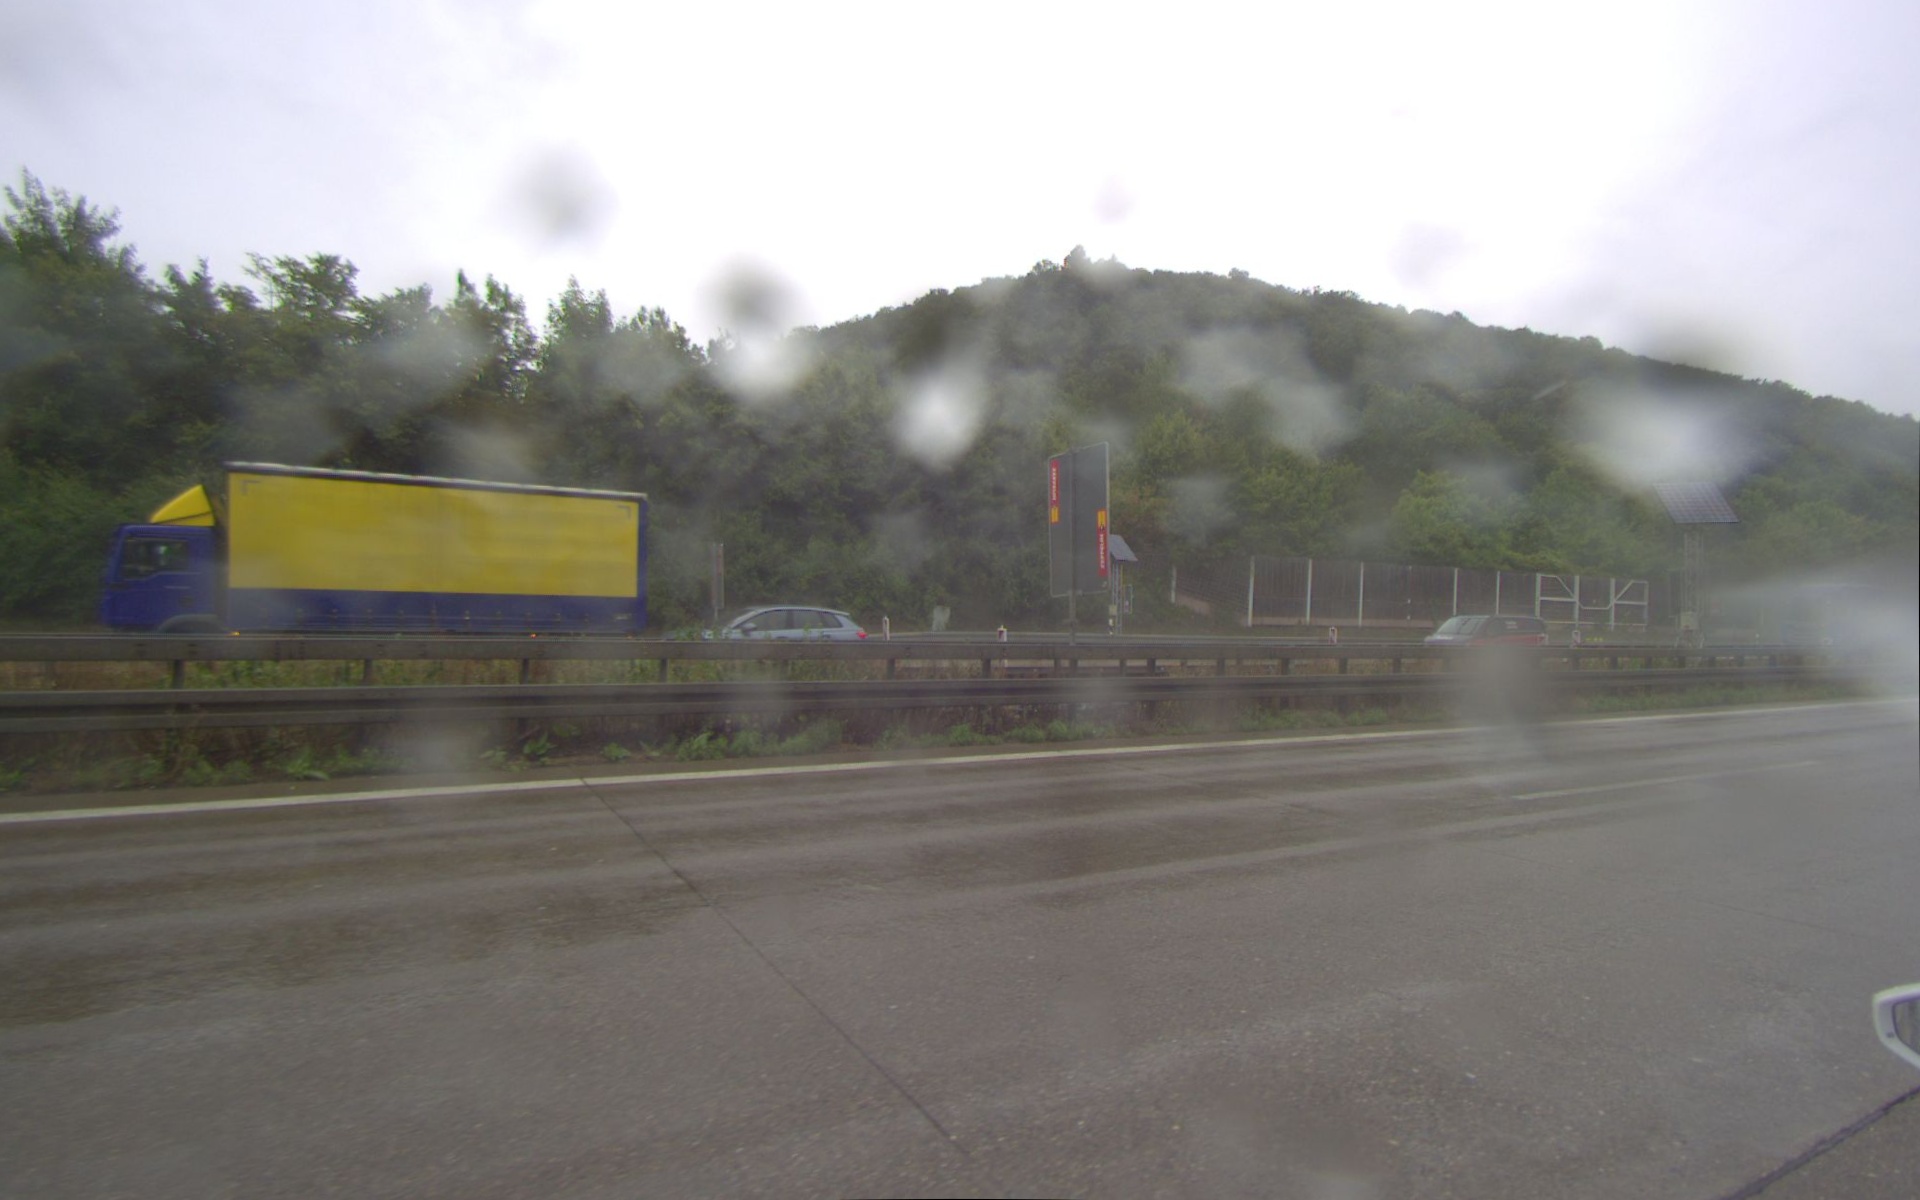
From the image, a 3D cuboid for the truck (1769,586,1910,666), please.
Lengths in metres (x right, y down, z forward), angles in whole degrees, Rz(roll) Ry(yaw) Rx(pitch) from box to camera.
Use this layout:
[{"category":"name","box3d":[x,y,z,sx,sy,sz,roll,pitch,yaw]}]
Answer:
[{"category":"truck","box3d":[49.282,1.458,56.188,10.057,4.210,2.835,1,0,-30]}]

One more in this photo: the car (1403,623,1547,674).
[{"category":"car","box3d":[17.242,1.580,33.573,5.209,1.552,1.744,1,0,-30]}]

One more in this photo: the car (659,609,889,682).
[{"category":"car","box3d":[-3.826,0.906,20.894,4.373,1.357,1.744,1,0,-30]}]

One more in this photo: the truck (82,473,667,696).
[{"category":"truck","box3d":[-11.185,-0.175,20.462,9.684,3.750,2.572,1,0,-30]}]

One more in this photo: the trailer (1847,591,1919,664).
[{"category":"trailer","box3d":[57.293,1.659,60.822,8.423,4.210,2.835,1,0,-30]}]
